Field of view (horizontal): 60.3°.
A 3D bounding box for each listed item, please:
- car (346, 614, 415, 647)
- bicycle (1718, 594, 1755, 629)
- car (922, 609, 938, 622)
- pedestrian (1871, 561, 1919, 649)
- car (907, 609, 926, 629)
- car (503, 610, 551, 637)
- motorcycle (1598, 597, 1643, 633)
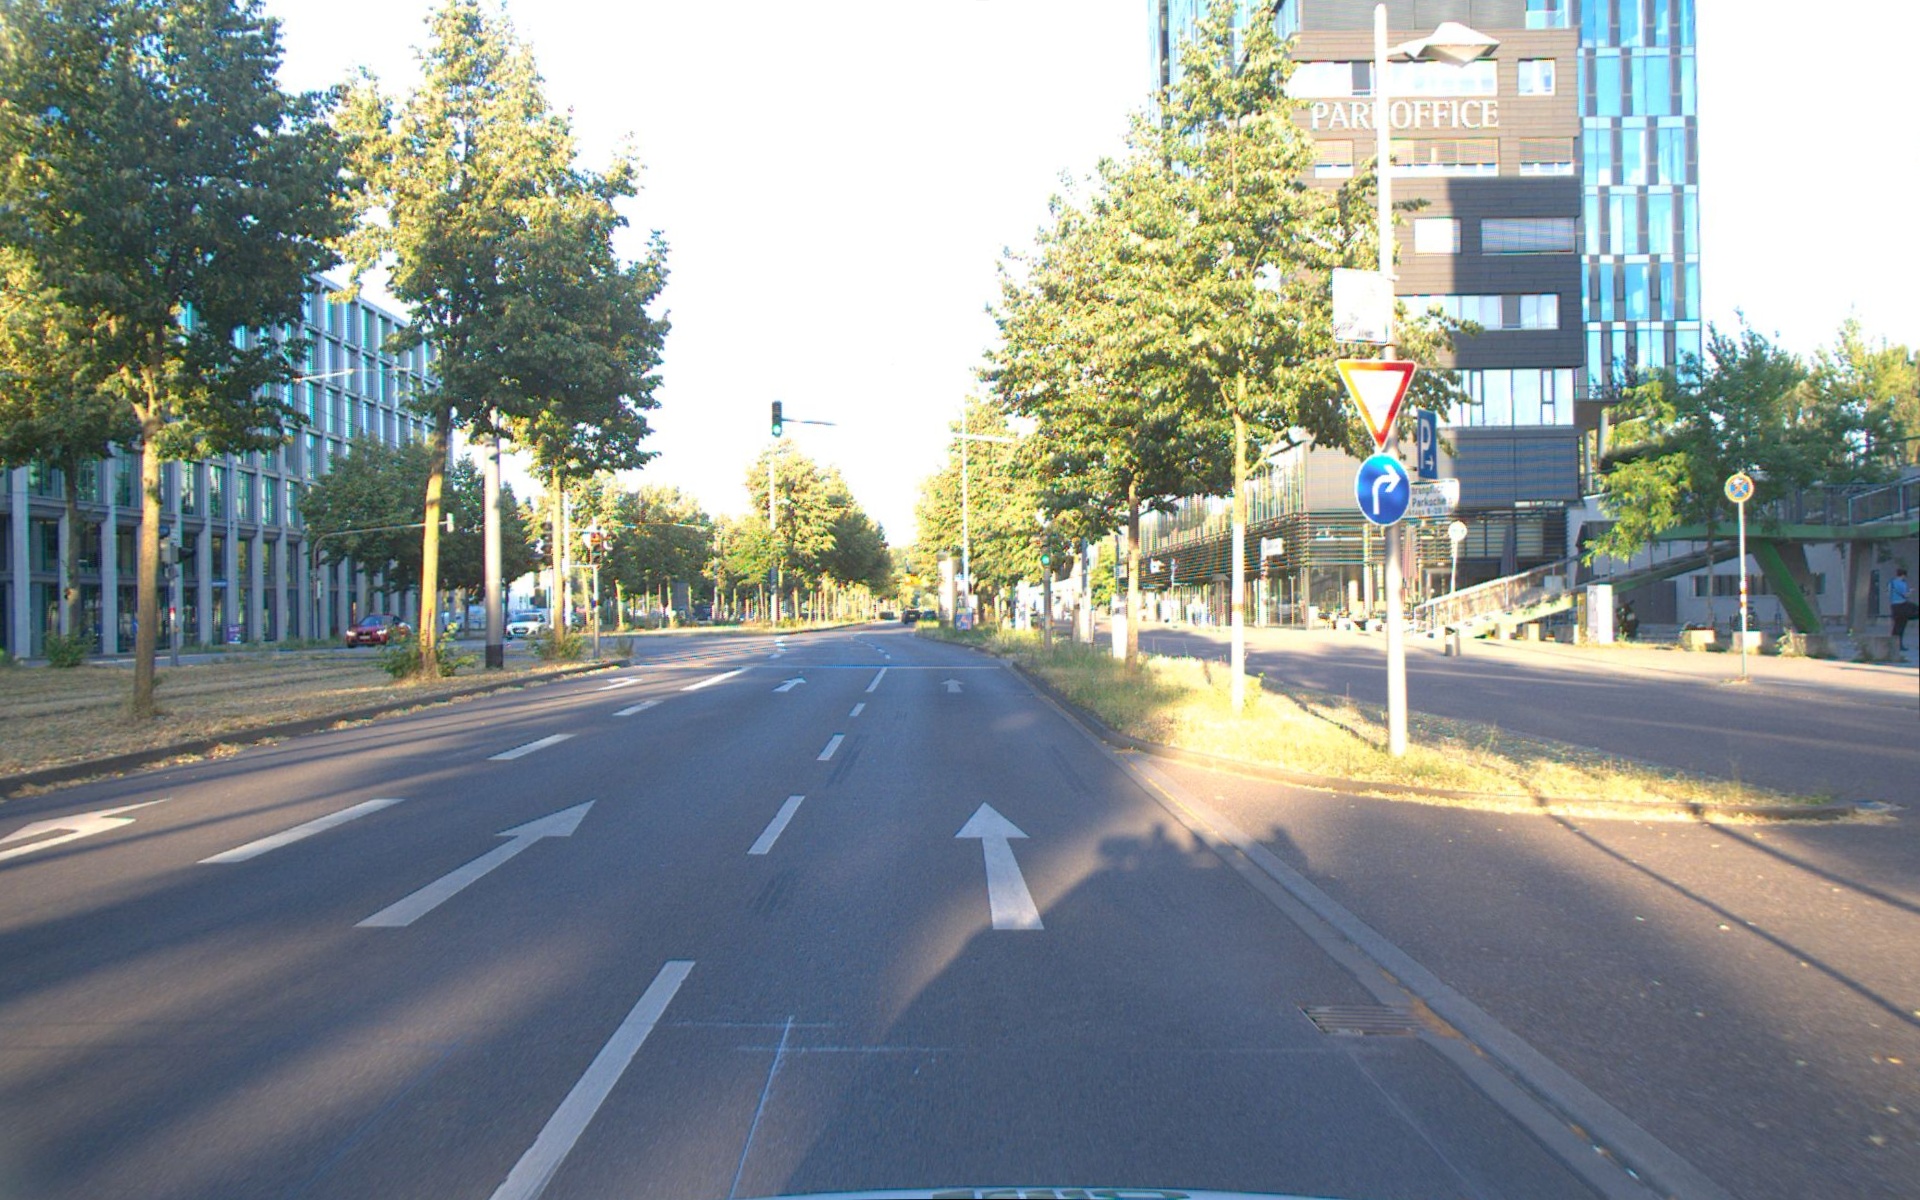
[{"bbox_3d":[-25.739,1.349,73.604,1.624,1.355,4.525,-1,0,-3],"label":"car"},{"bbox_3d":[24.376,0.340,51.965,0.555,1.070,1.769,-1,0,9],"label":"bicycle"},{"bbox_3d":[-3.647,1.852,199.276,1.834,1.601,3.677,-1,0,0],"label":"car"},{"bbox_3d":[22.238,0.117,39.237,0.914,2.049,0.886,-1,-1,42],"label":"pedestrian"},{"bbox_3d":[-4.646,2.013,174.401,1.953,2.049,3.999,-1,0,-2],"label":"car"},{"bbox_3d":[-23.411,1.246,89.591,1.751,1.355,3.670,-1,0,-3],"label":"car"},{"bbox_3d":[21.178,0.462,53.081,0.636,1.113,2.334,-1,0,4],"label":"motorcycle"}]
